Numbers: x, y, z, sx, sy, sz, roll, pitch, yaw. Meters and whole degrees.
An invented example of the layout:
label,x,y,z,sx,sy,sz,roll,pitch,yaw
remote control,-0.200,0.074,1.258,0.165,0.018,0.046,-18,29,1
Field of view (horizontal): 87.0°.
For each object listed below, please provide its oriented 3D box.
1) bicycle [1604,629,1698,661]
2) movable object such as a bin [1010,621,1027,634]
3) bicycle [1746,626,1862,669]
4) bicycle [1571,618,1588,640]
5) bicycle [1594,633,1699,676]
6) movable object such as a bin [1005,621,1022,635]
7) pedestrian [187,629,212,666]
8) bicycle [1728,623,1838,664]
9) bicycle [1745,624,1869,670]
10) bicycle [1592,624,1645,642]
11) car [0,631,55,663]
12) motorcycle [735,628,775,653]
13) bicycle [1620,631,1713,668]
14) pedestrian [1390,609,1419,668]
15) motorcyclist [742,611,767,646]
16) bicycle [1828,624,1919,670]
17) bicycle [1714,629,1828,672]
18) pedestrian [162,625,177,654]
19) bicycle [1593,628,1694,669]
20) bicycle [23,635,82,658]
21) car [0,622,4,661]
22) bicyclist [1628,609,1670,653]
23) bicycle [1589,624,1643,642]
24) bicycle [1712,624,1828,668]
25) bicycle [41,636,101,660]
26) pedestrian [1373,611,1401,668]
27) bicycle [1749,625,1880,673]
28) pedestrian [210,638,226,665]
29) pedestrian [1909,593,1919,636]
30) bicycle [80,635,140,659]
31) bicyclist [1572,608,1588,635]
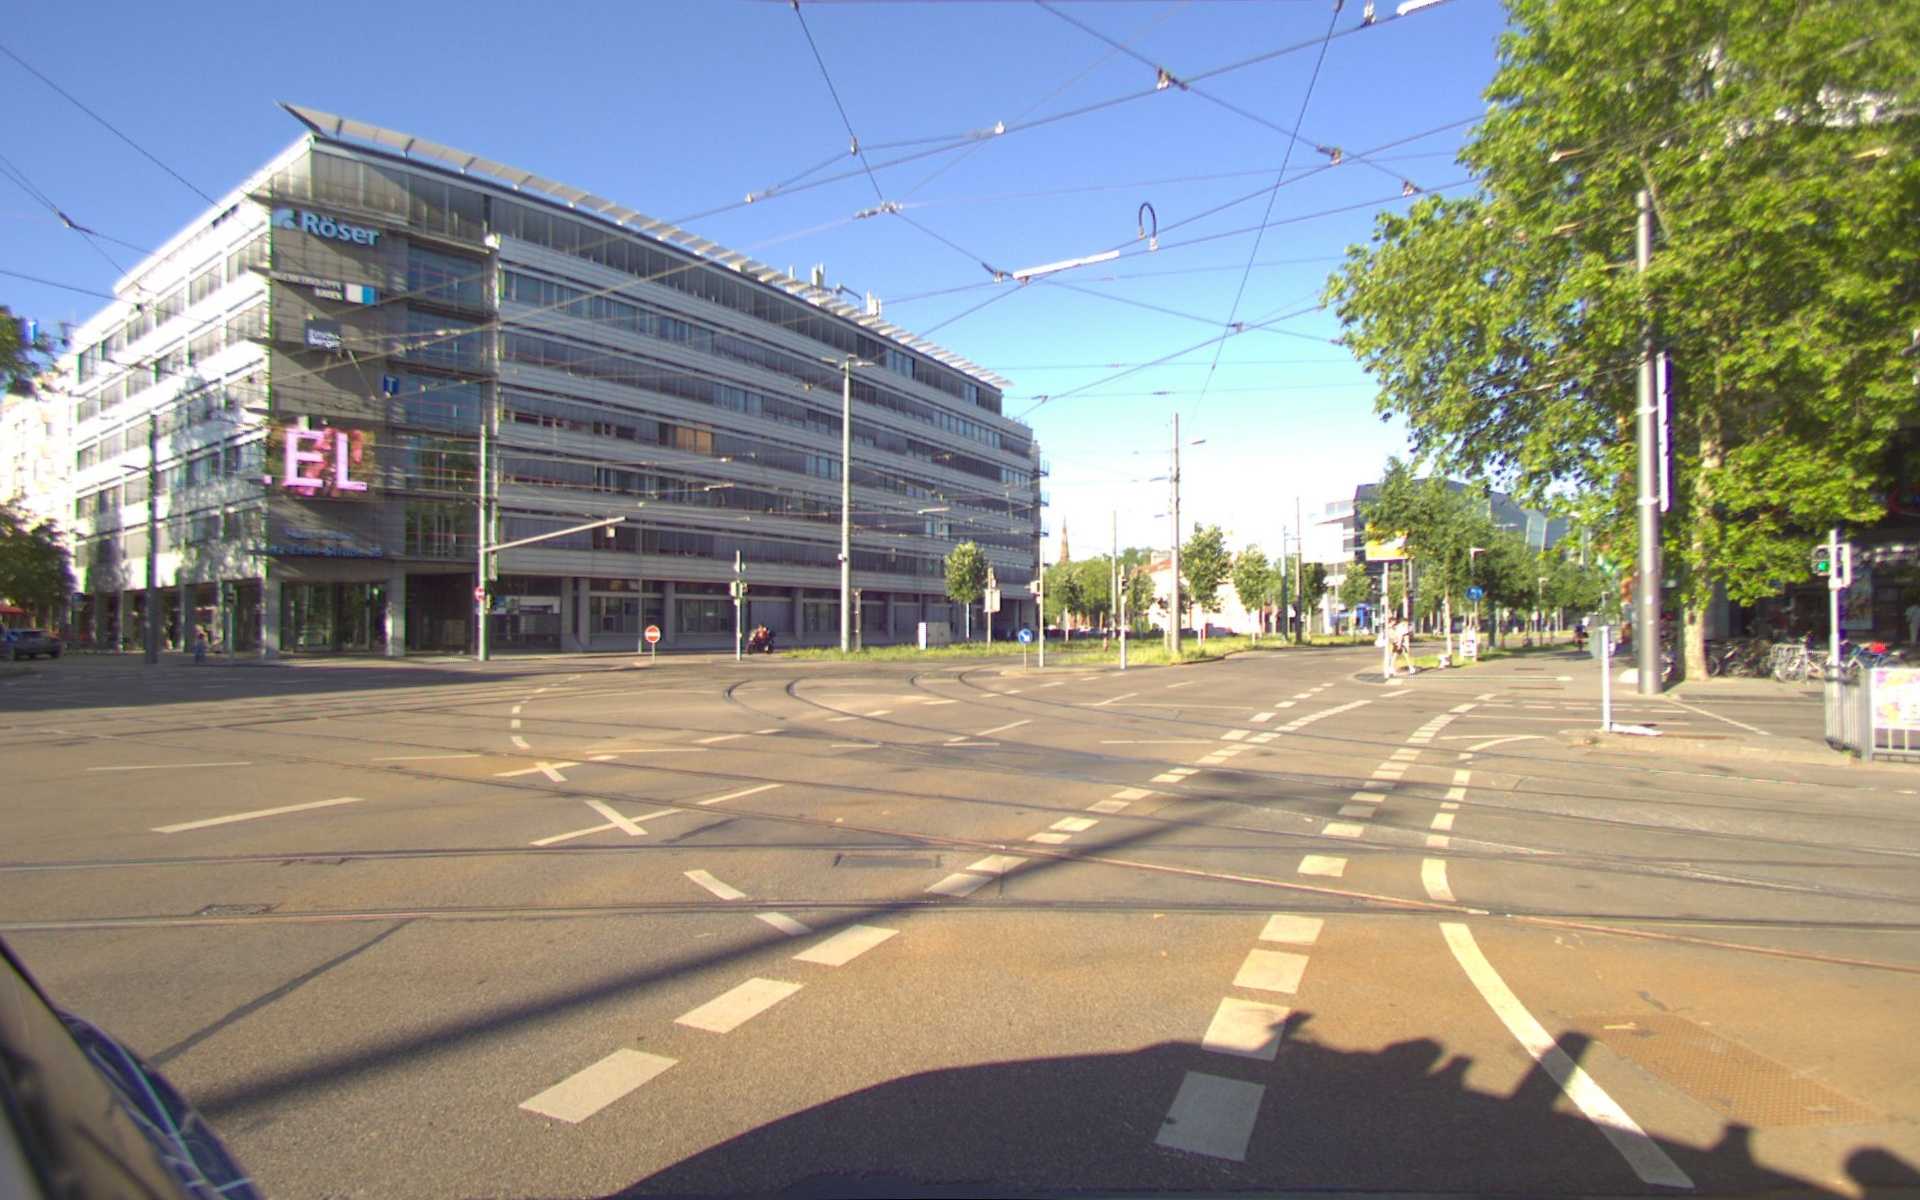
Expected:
label,x,y,z,sx,sy,sz,roll,pitch,yaw
bicycle,25.134,1.612,36.888,0.880,1.112,2.700,0,-2,-30
movable object such as a bin,5.959,2.827,102.784,1.171,1.311,1.313,-2,-1,35
bicycle,23.117,1.276,27.769,2.361,1.137,0.592,-1,-2,34
bicycle,33.954,1.575,55.425,0.692,1.145,1.830,-1,-1,34
bicycle,18.973,1.482,28.033,2.361,1.137,0.592,-1,-2,35
movable object such as a bin,5.329,2.832,101.599,1.171,1.311,1.313,-2,-1,35
pedestrian,-34.234,2.132,45.550,0.790,1.653,0.654,-2,-2,31
bicycle,23.445,1.235,28.901,2.361,1.137,0.592,-1,-2,34
bicycle,21.597,1.177,25.875,2.361,1.137,0.592,-1,-2,34
bicycle,41.613,2.071,64.004,0.882,1.112,2.693,1,-2,-44
car,-46.334,2.281,49.879,3.970,1.486,1.844,-2,-1,37
motorcycle,-11.164,2.196,55.121,0.819,1.230,2.231,-1,0,32
bicycle,22.380,1.547,32.101,2.361,1.137,0.592,-1,-2,35
pedestrian,14.405,1.225,32.785,0.731,1.884,0.666,-1,-1,32
motorcyclist,-11.184,1.529,55.104,0.819,1.871,1.100,-1,0,32
bicycle,23.932,1.200,26.032,2.361,1.137,0.592,-1,-2,34
bicycle,22.128,1.355,27.681,2.361,1.137,0.592,-1,-2,34
pedestrian,-48.245,2.423,61.791,0.793,1.747,0.578,-4,-2,43
bicycle,19.749,1.378,29.288,2.361,1.137,0.592,-1,-2,35
bicycle,-50.079,2.538,55.898,0.768,1.223,2.381,-2,-2,17
car,-51.522,2.164,52.067,4.431,2.031,1.852,-1,-1,24
bicyclist,25.133,1.133,36.901,0.880,1.560,0.942,0,-2,-29
bicycle,41.165,2.051,63.547,0.882,1.112,2.693,1,-2,-44
bicycle,21.724,1.228,27.204,2.361,1.137,0.592,-1,-2,34
bicycle,-47.547,2.545,54.161,0.768,1.223,2.381,-2,-2,17
pedestrian,14.240,1.301,33.757,0.732,1.884,0.691,-1,-1,34
bicycle,20.921,1.179,24.850,2.361,1.137,0.592,-1,-2,34
pedestrian,-33.602,2.328,45.833,0.460,1.219,0.438,-2,-2,31
pedestrian,37.554,0.548,39.496,0.706,1.665,0.688,-2,-1,44
bicycle,-45.678,2.503,54.417,0.774,1.223,2.364,-3,-2,37
bicyclist,33.970,1.183,55.458,0.692,1.472,0.745,-1,-1,34
